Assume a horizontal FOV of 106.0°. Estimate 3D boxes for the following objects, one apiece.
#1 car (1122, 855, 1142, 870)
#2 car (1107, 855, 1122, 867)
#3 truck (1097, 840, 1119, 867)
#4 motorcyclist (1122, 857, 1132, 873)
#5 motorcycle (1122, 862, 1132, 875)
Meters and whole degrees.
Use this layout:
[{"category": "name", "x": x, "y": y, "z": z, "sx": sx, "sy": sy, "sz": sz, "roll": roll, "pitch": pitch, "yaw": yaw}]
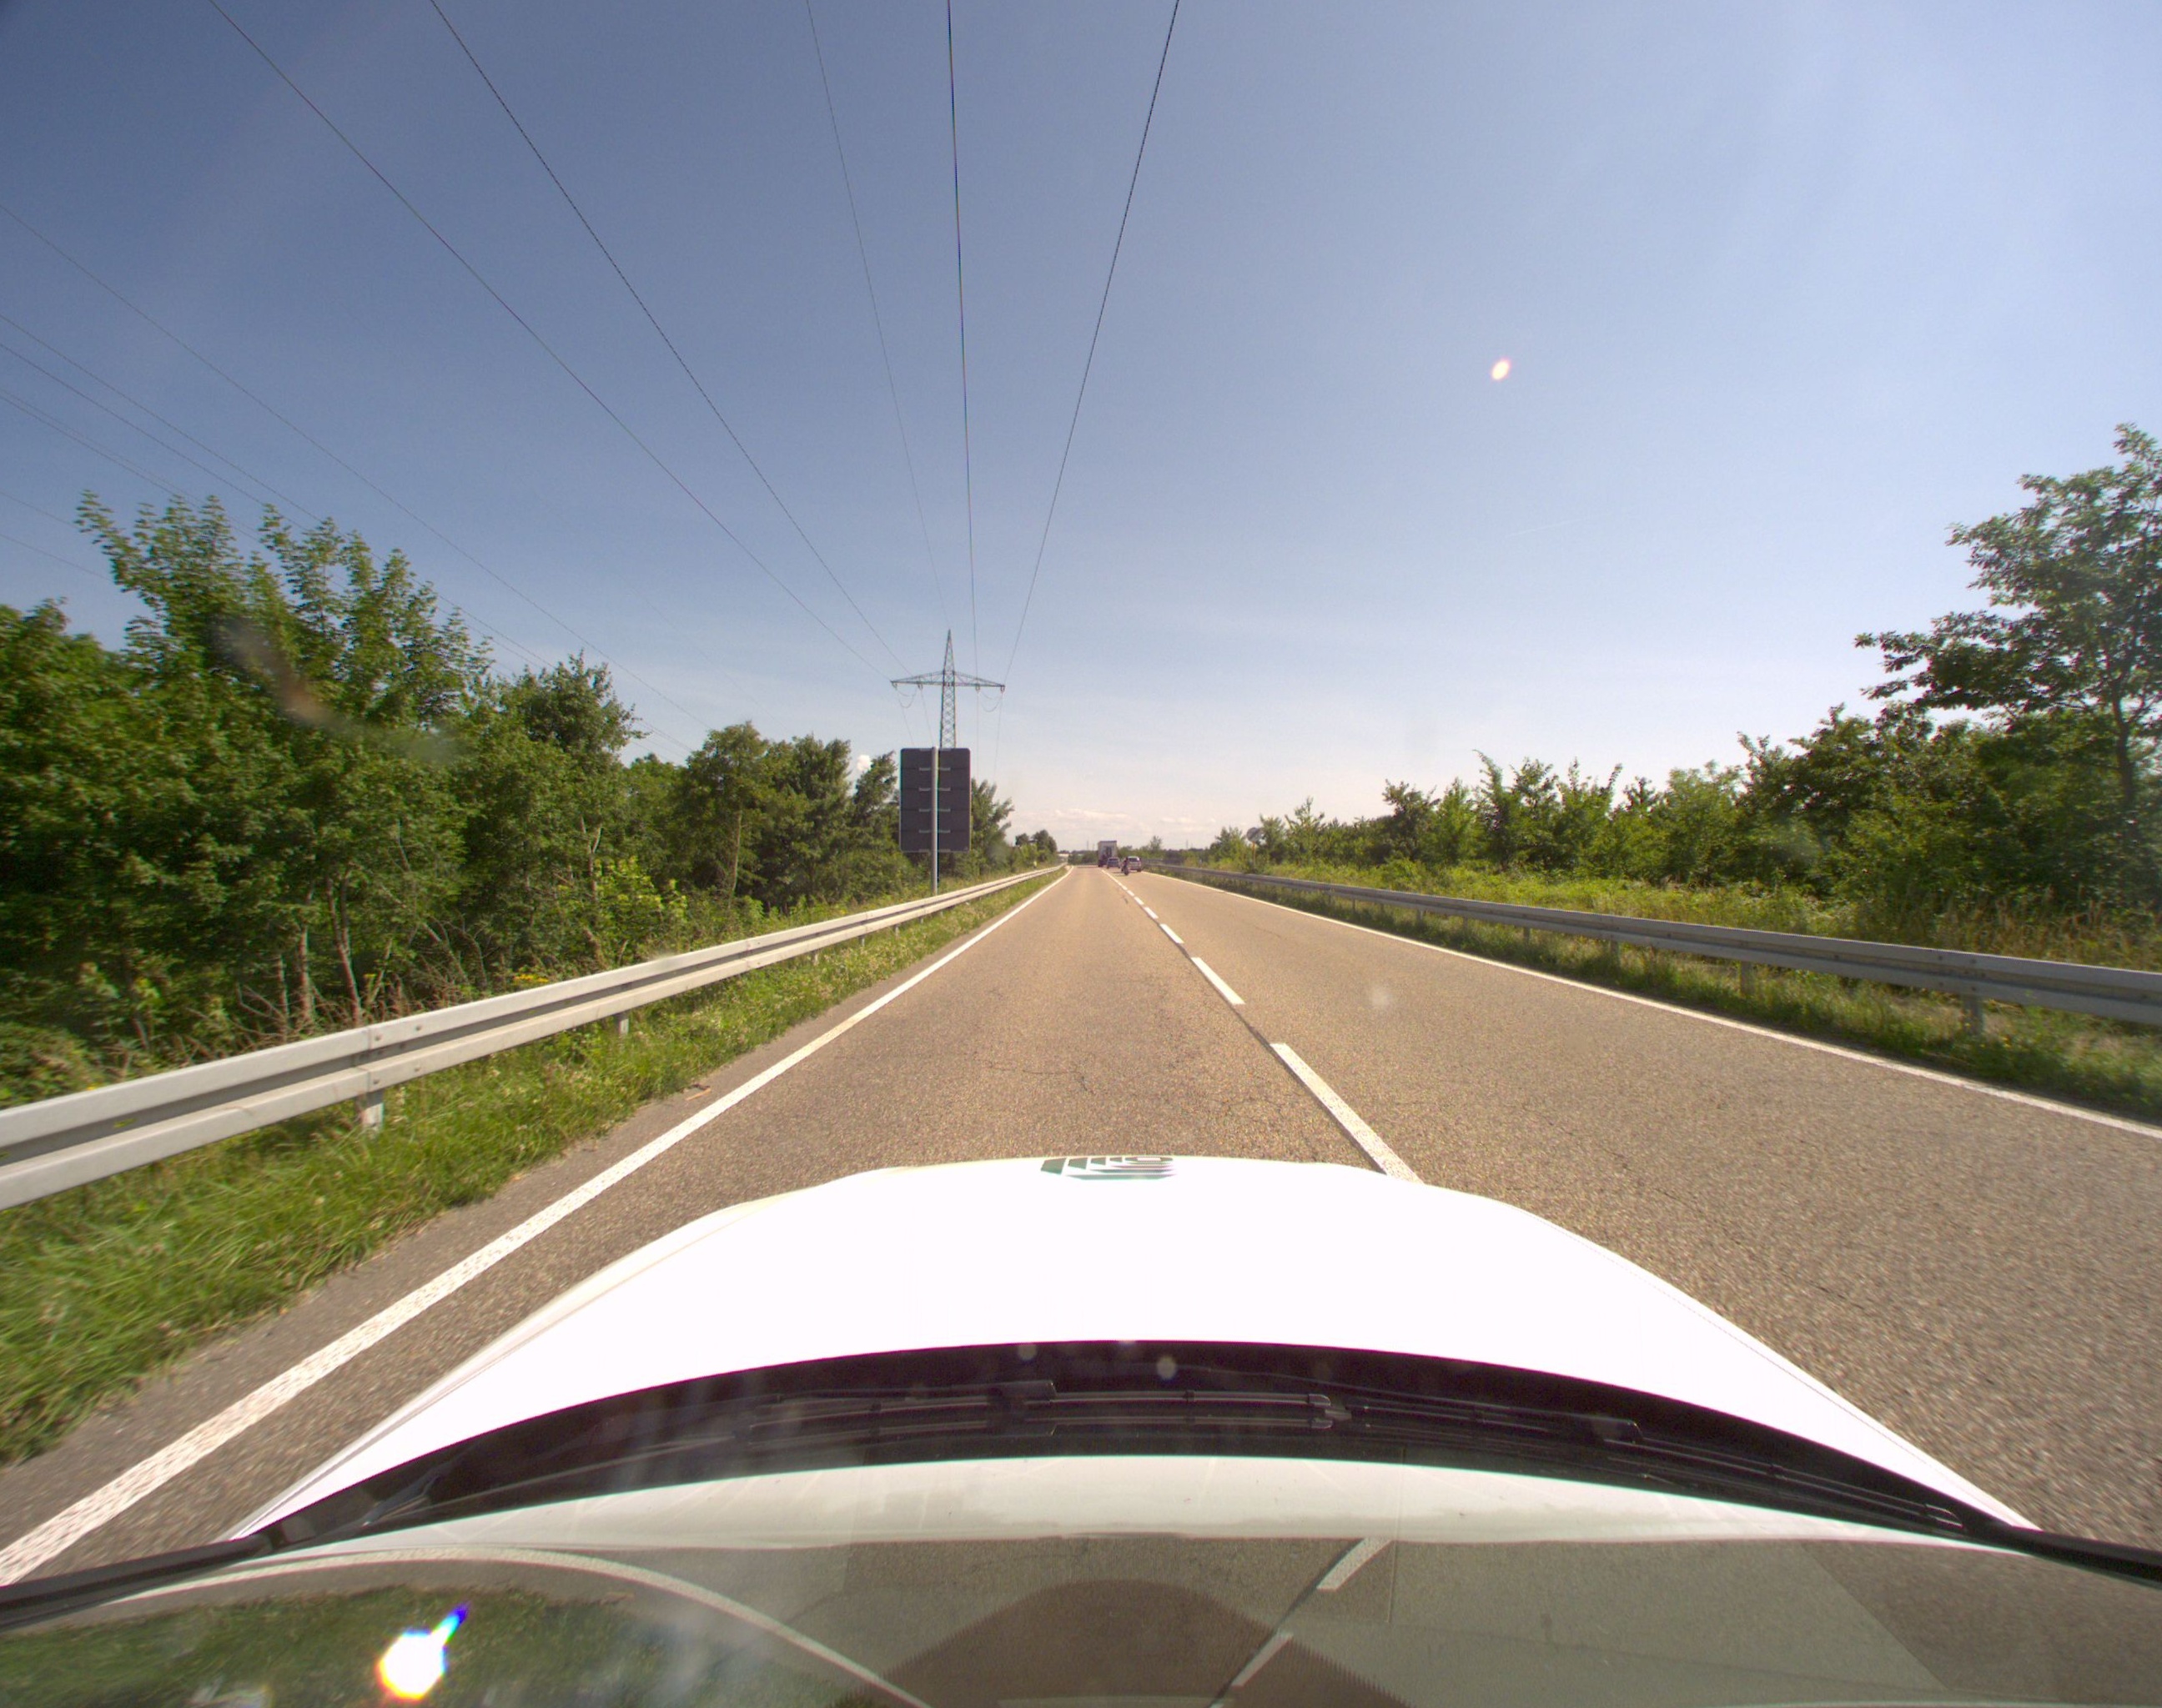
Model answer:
[{"category": "car", "x": 5.029, "y": 0.861, "z": 81.255, "sx": 1.819, "sy": 1.451, "sz": 4.001, "roll": -1, "pitch": 0, "yaw": 1}, {"category": "car", "x": 4.261, "y": 0.888, "z": 105.353, "sx": 1.859, "sy": 1.420, "sz": 4.001, "roll": 0, "pitch": 0, "yaw": 1}, {"category": "truck", "x": 4.204, "y": -0.036, "z": 128.693, "sx": 3.230, "sy": 3.979, "sz": 9.446, "roll": -1, "pitch": 0, "yaw": 2}, {"category": "motorcyclist", "x": 3.807, "y": 0.930, "z": 67.487, "sx": 0.777, "sy": 1.325, "sz": 0.813, "roll": -1, "pitch": 0, "yaw": 1}, {"category": "motorcycle", "x": 3.800, "y": 1.191, "z": 67.466, "sx": 0.777, "sy": 0.975, "sz": 2.362, "roll": -1, "pitch": 0, "yaw": 2}]
